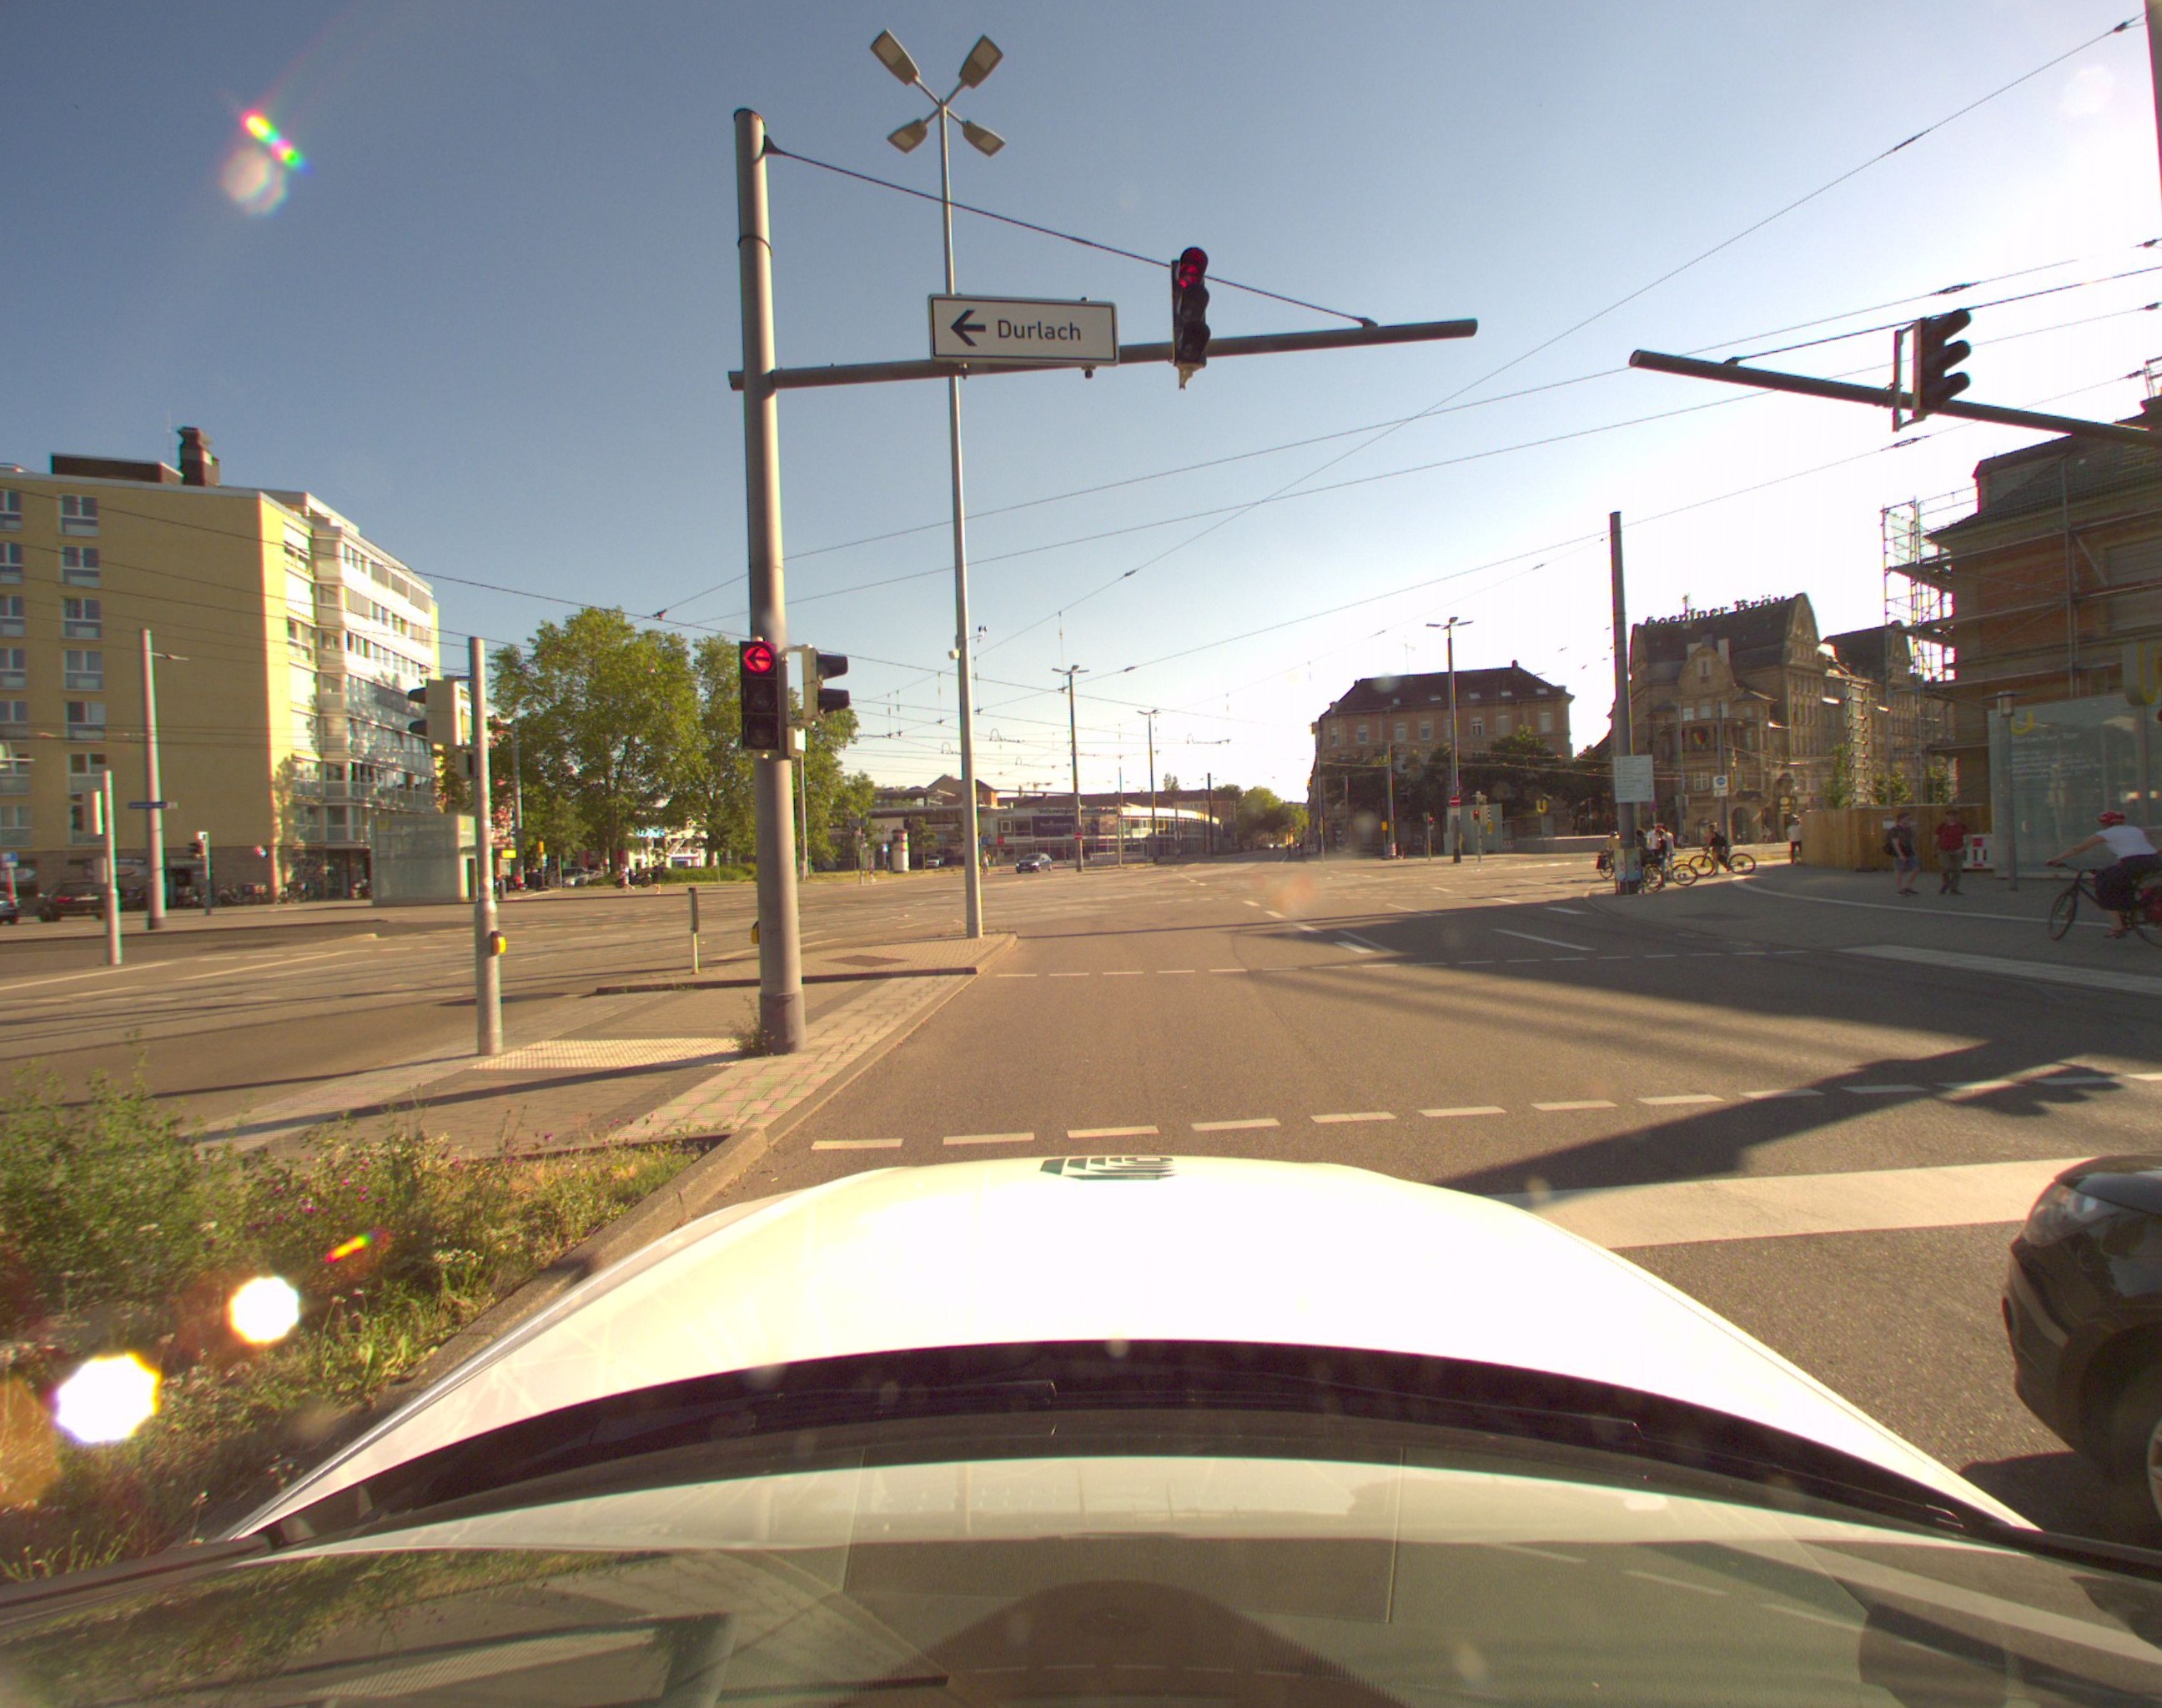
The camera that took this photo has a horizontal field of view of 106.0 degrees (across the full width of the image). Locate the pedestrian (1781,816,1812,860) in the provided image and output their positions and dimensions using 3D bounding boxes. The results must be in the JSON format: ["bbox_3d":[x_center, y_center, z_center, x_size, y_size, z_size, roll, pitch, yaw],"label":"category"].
[{"bbox_3d":[29.454,-0.647,33.551,0.646,1.814,0.689,0,-1,-6],"label":"pedestrian"}]

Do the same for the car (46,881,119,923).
[{"bbox_3d":[-44.178,2.076,36.000,3.948,1.706,1.730,-1,-1,35],"label":"car"}]

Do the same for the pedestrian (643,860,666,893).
[{"bbox_3d":[-22.192,1.178,42.382,0.790,1.706,0.760,-1,-1,9],"label":"pedestrian"}]

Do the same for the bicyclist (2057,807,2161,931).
[{"bbox_3d":[13.556,0.187,10.629,0.664,1.553,0.794,0,-1,-3],"label":"bicyclist"}]

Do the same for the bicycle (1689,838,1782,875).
[{"bbox_3d":[21.388,0.096,26.668,2.290,1.049,0.539,-5,-1,36],"label":"bicycle"}]

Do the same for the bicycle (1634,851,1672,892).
[{"bbox_3d":[15.947,0.455,22.751,0.692,1.049,2.335,0,1,31],"label":"bicycle"}]

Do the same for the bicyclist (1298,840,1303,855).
[{"bbox_3d":[25.200,-0.781,93.434,0.514,1.700,0.518,-1,-1,18],"label":"bicyclist"}]

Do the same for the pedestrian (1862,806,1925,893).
[{"bbox_3d":[17.414,-0.095,17.464,0.672,1.807,0.680,-3,0,-19],"label":"pedestrian"}]

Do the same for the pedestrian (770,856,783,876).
[{"bbox_3d":[-25.426,1.024,68.048,0.854,1.694,0.497,0,-1,-1],"label":"pedestrian"}]

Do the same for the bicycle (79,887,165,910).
[{"bbox_3d":[-50.089,2.310,42.567,3.041,1.151,0.637,0,-1,-16],"label":"bicycle"}]

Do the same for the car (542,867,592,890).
[{"bbox_3d":[-37.308,1.720,59.241,1.772,1.567,3.983,0,-1,-12],"label":"car"}]

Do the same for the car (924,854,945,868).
[{"bbox_3d":[-17.929,0.868,99.944,1.988,1.750,3.997,0,-1,-1],"label":"car"}]

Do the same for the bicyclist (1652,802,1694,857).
[{"bbox_3d":[17.228,-0.704,23.735,0.935,1.557,0.715,-1,-1,33],"label":"bicyclist"}]

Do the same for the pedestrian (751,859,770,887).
[{"bbox_3d":[-19.238,1.144,48.943,0.790,1.706,0.760,-1,-1,9],"label":"pedestrian"}]

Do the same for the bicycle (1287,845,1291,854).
[{"bbox_3d":[23.063,-0.482,90.261,0.407,0.941,1.852,-1,-1,15],"label":"bicycle"}]

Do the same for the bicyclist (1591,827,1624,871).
[{"bbox_3d":[19.067,-0.183,29.484,0.514,1.557,0.945,0,-1,-7],"label":"bicyclist"}]

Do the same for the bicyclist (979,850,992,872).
[{"bbox_3d":[-7.039,0.545,60.086,0.593,1.615,0.827,-1,-1,20],"label":"bicyclist"}]

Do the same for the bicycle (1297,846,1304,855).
[{"bbox_3d":[25.185,-0.414,93.362,0.652,0.952,1.607,-1,-1,17],"label":"bicycle"}]

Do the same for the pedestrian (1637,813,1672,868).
[{"bbox_3d":[21.463,-0.496,30.476,0.730,2.014,0.760,0,-1,-6],"label":"pedestrian"}]

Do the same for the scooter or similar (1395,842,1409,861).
[{"bbox_3d":[24.767,-0.180,62.823,0.780,1.376,1.916,-1,-1,16],"label":"scooter or similar"}]

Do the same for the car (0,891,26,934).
[{"bbox_3d":[-47.000,2.497,34.878,3.948,1.706,2.013,-1,-1,35],"label":"car"}]

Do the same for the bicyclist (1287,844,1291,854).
[{"bbox_3d":[23.108,-0.574,90.458,0.405,1.116,0.400,-1,-1,13],"label":"bicyclist"}]

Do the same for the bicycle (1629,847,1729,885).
[{"bbox_3d":[17.318,0.346,23.671,2.290,1.049,0.705,-1,-1,32],"label":"bicycle"}]

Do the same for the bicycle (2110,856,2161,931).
[{"bbox_3d":[14.782,0.518,10.379,0.657,0.963,2.033,-4,0,-3],"label":"bicycle"}]

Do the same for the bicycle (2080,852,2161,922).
[{"bbox_3d":[15.955,0.470,11.626,0.661,0.963,2.018,-4,1,-25],"label":"bicycle"}]

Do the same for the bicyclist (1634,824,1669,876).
[{"bbox_3d":[15.955,-0.103,22.783,0.701,1.439,0.953,-1,-1,31],"label":"bicyclist"}]

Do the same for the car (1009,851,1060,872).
[{"bbox_3d":[-3.496,0.562,61.889,1.975,1.585,4.024,-1,-1,29],"label":"car"}]

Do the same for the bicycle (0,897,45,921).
[{"bbox_3d":[-54.579,2.765,41.070,3.041,1.151,0.637,0,-1,-16],"label":"bicycle"}]

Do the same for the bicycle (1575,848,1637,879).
[{"bbox_3d":[19.051,0.314,29.619,0.533,1.049,2.315,0,1,-6],"label":"bicycle"}]

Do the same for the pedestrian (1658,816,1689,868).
[{"bbox_3d":[22.231,-0.430,30.560,0.646,1.922,0.689,0,-1,-6],"label":"pedestrian"}]

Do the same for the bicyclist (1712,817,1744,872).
[{"bbox_3d":[21.263,-0.289,26.773,0.785,1.779,0.526,-1,-1,37],"label":"bicyclist"}]

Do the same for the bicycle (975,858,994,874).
[{"bbox_3d":[-7.074,0.861,59.963,0.607,1.189,1.878,-1,-1,19],"label":"bicycle"}]

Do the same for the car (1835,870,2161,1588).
[{"bbox_3d":[2.899,0.733,0.303,1.617,1.404,4.001,0,0,2],"label":"car"}]

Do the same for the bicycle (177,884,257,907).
[{"bbox_3d":[-46.211,2.234,43.582,3.041,1.151,0.637,0,-1,-16],"label":"bicycle"}]

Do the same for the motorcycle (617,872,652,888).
[{"bbox_3d":[-27.266,1.577,49.758,1.779,0.914,0.675,0,-1,-19],"label":"motorcycle"}]

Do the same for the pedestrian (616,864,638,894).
[{"bbox_3d":[-25.791,1.409,46.247,0.790,1.706,0.760,-1,-1,9],"label":"pedestrian"}]

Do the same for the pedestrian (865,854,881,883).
[{"bbox_3d":[-13.447,0.930,52.675,0.790,1.886,0.760,-1,-1,9],"label":"pedestrian"}]

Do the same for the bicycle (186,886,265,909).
[{"bbox_3d":[-46.445,2.337,44.254,3.041,1.151,0.637,0,-1,-16],"label":"bicycle"}]

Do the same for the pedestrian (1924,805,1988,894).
[{"bbox_3d":[18.328,-0.087,17.074,0.672,1.807,0.680,0,-1,-19],"label":"pedestrian"}]

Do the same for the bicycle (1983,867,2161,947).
[{"bbox_3d":[13.550,0.665,10.888,0.656,0.963,2.033,0,-1,-3],"label":"bicycle"}]
